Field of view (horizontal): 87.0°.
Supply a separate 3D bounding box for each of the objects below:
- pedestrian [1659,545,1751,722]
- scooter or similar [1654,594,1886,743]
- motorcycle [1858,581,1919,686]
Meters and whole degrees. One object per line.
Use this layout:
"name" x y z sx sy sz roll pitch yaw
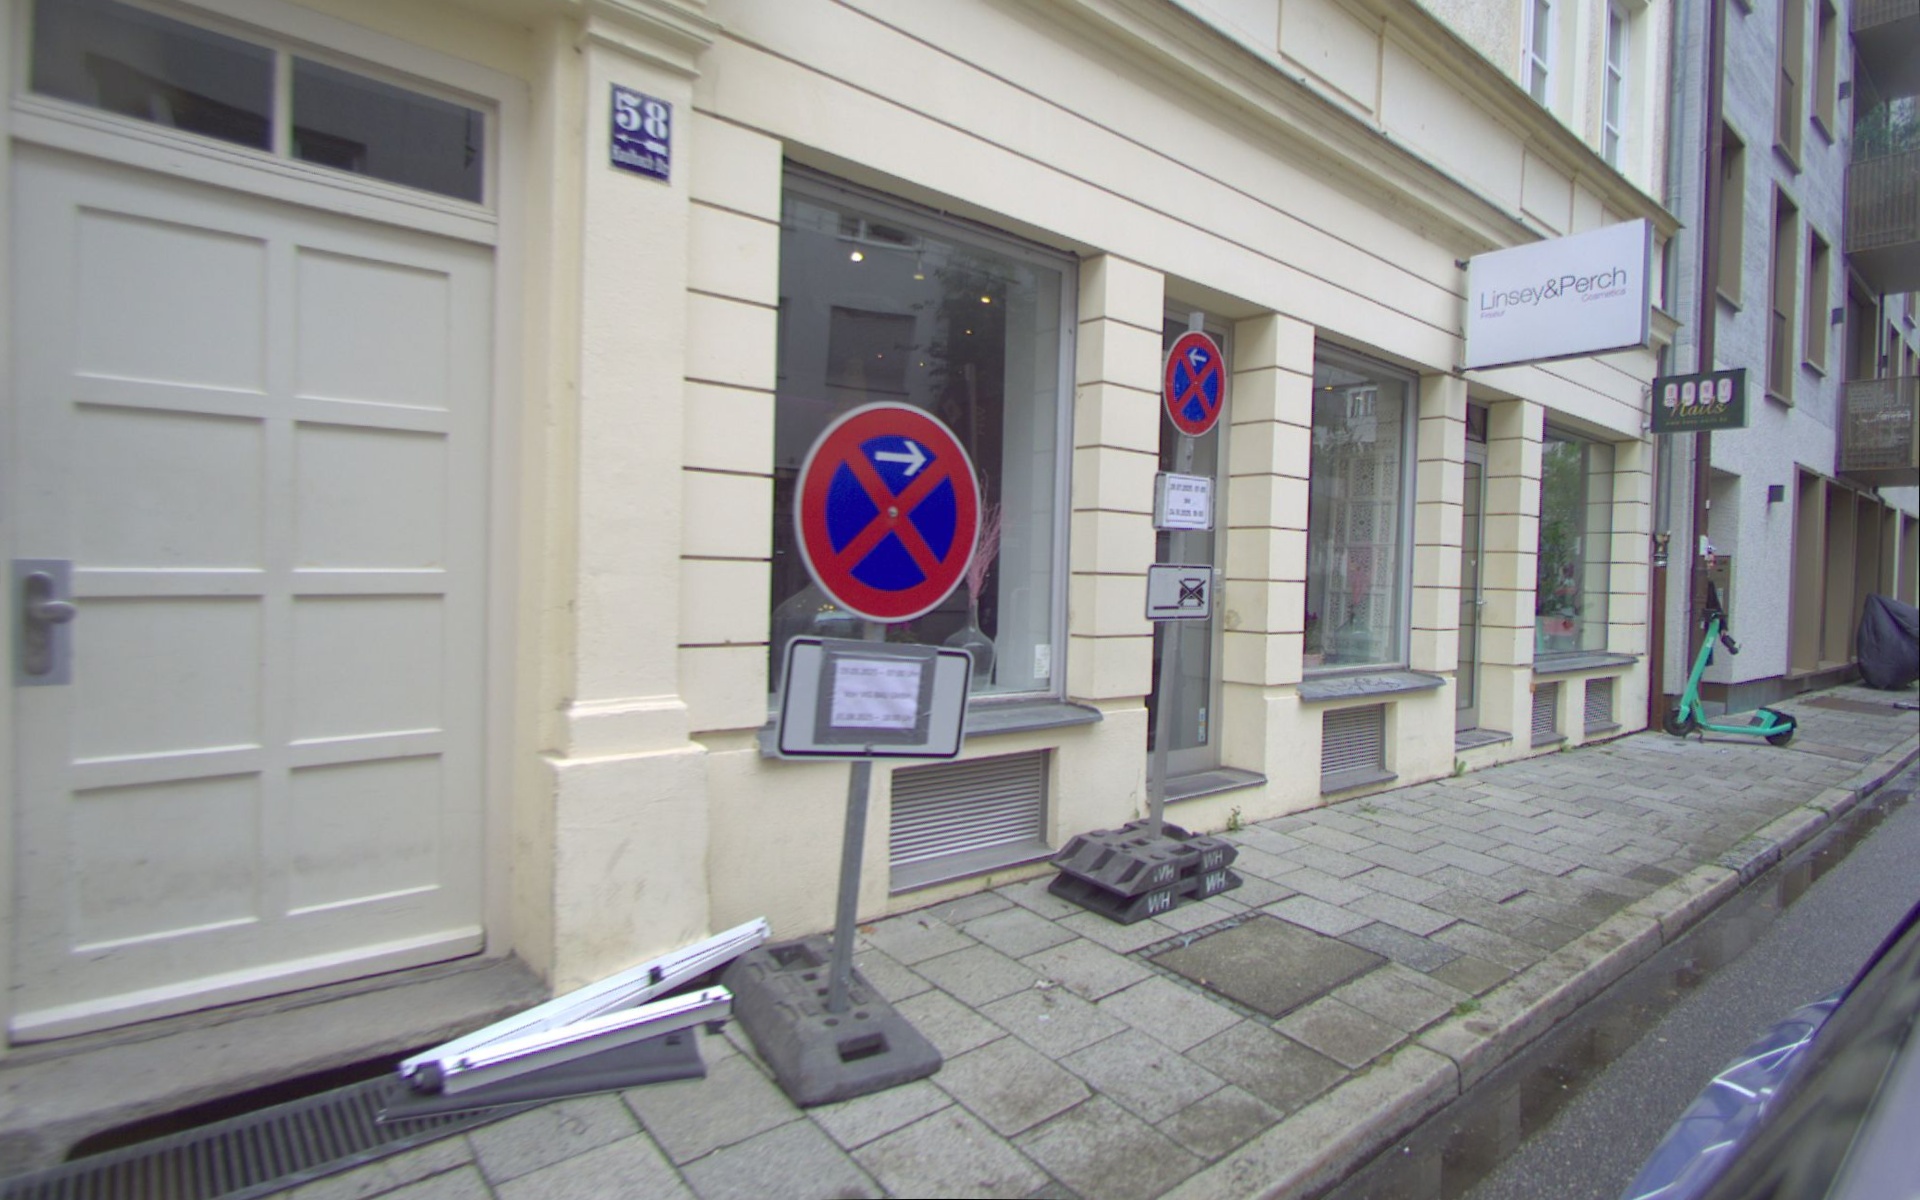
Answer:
"pedestrian" 7.539 0.314 10.242 0.649 1.707 0.545 0 3 -42
"scooter or similar" 7.333 0.610 9.208 1.578 1.197 0.495 3 3 1
"motorcycle" 14.412 0.490 15.309 1.897 1.439 0.807 0 7 -39
